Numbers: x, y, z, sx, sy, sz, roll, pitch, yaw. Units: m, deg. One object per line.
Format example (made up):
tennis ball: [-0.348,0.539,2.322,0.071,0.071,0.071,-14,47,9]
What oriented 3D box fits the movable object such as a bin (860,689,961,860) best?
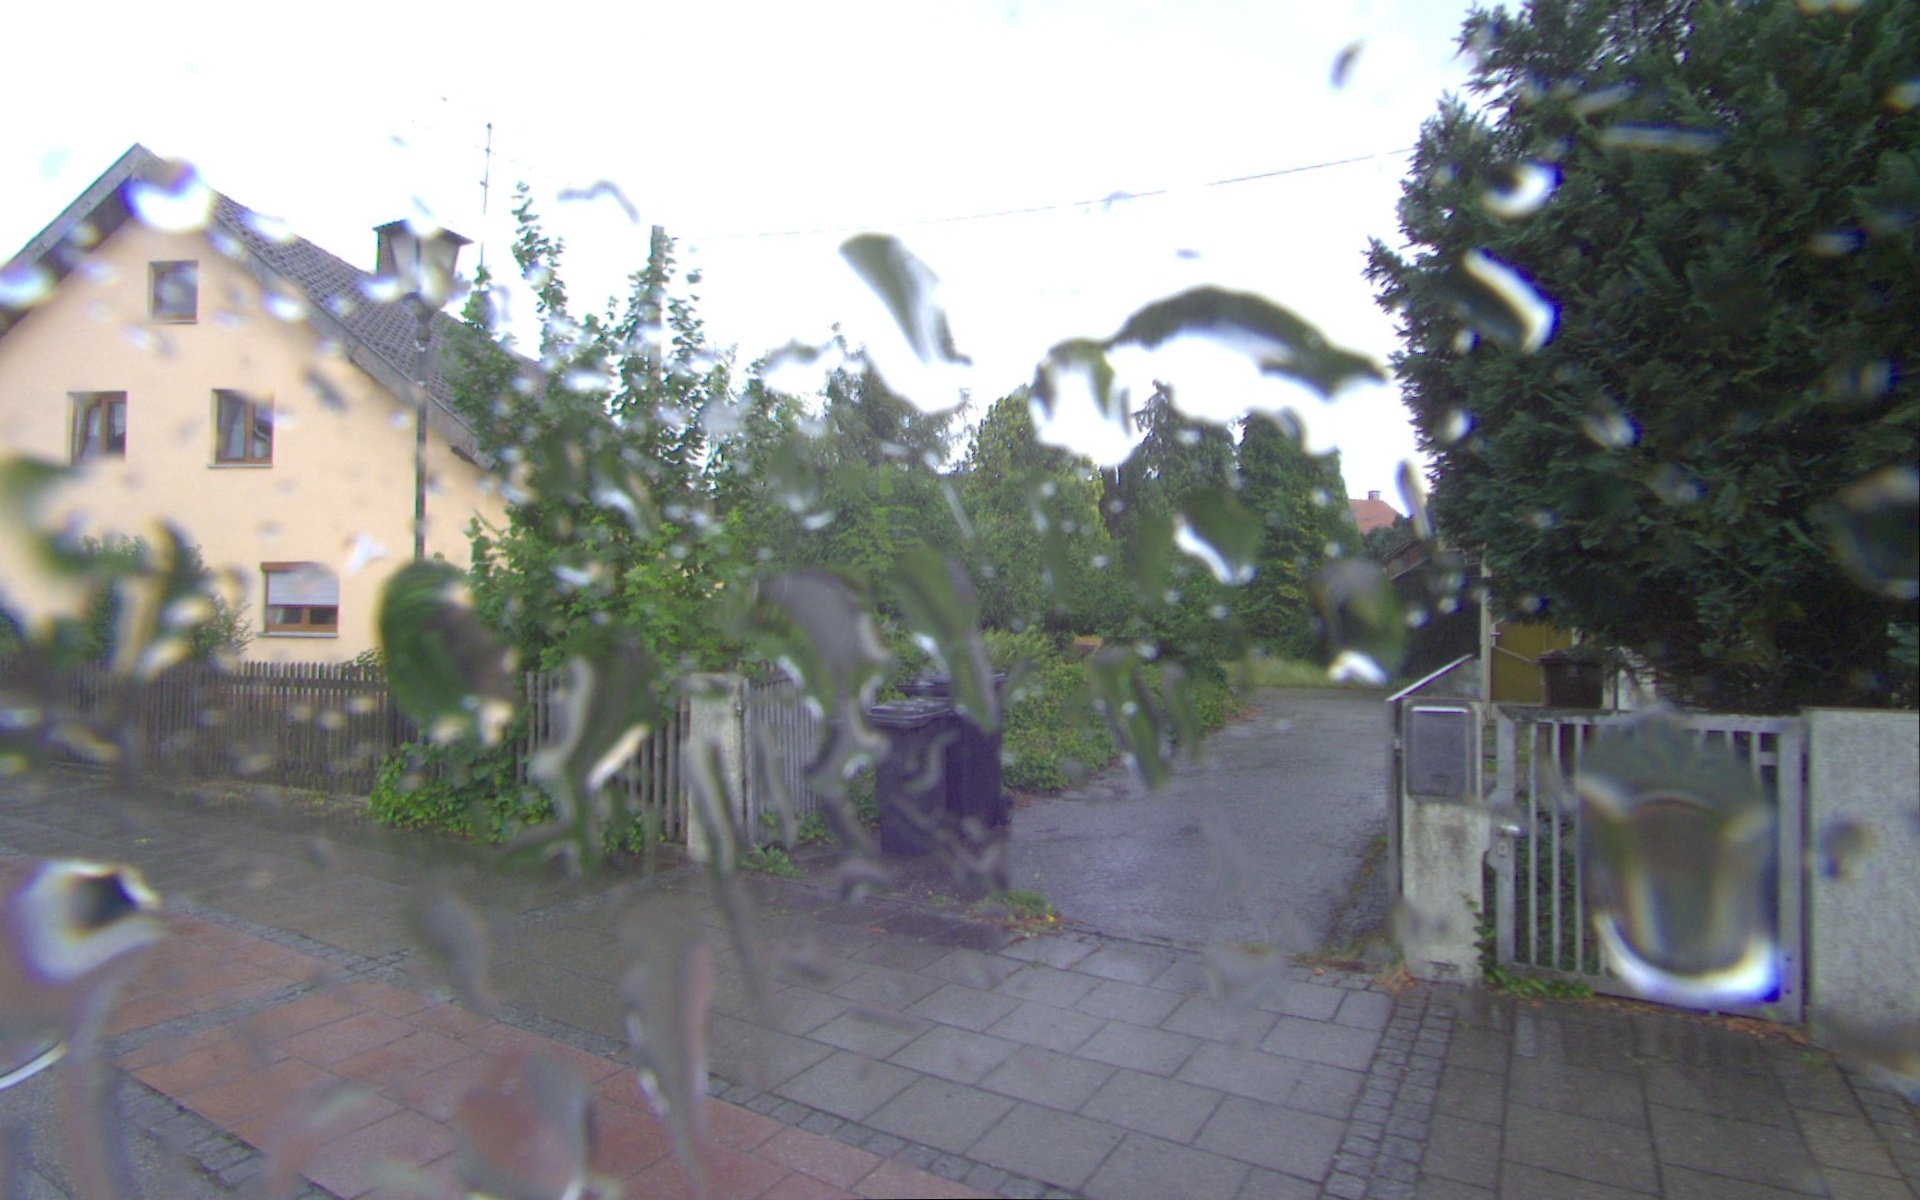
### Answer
movable object such as a bin: [-0.300,1.050,6.168,0.440,0.948,0.432,-1,1,33]

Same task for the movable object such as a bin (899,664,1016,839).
movable object such as a bin: [-0.012,0.982,6.708,0.545,1.054,0.574,-1,1,33]
